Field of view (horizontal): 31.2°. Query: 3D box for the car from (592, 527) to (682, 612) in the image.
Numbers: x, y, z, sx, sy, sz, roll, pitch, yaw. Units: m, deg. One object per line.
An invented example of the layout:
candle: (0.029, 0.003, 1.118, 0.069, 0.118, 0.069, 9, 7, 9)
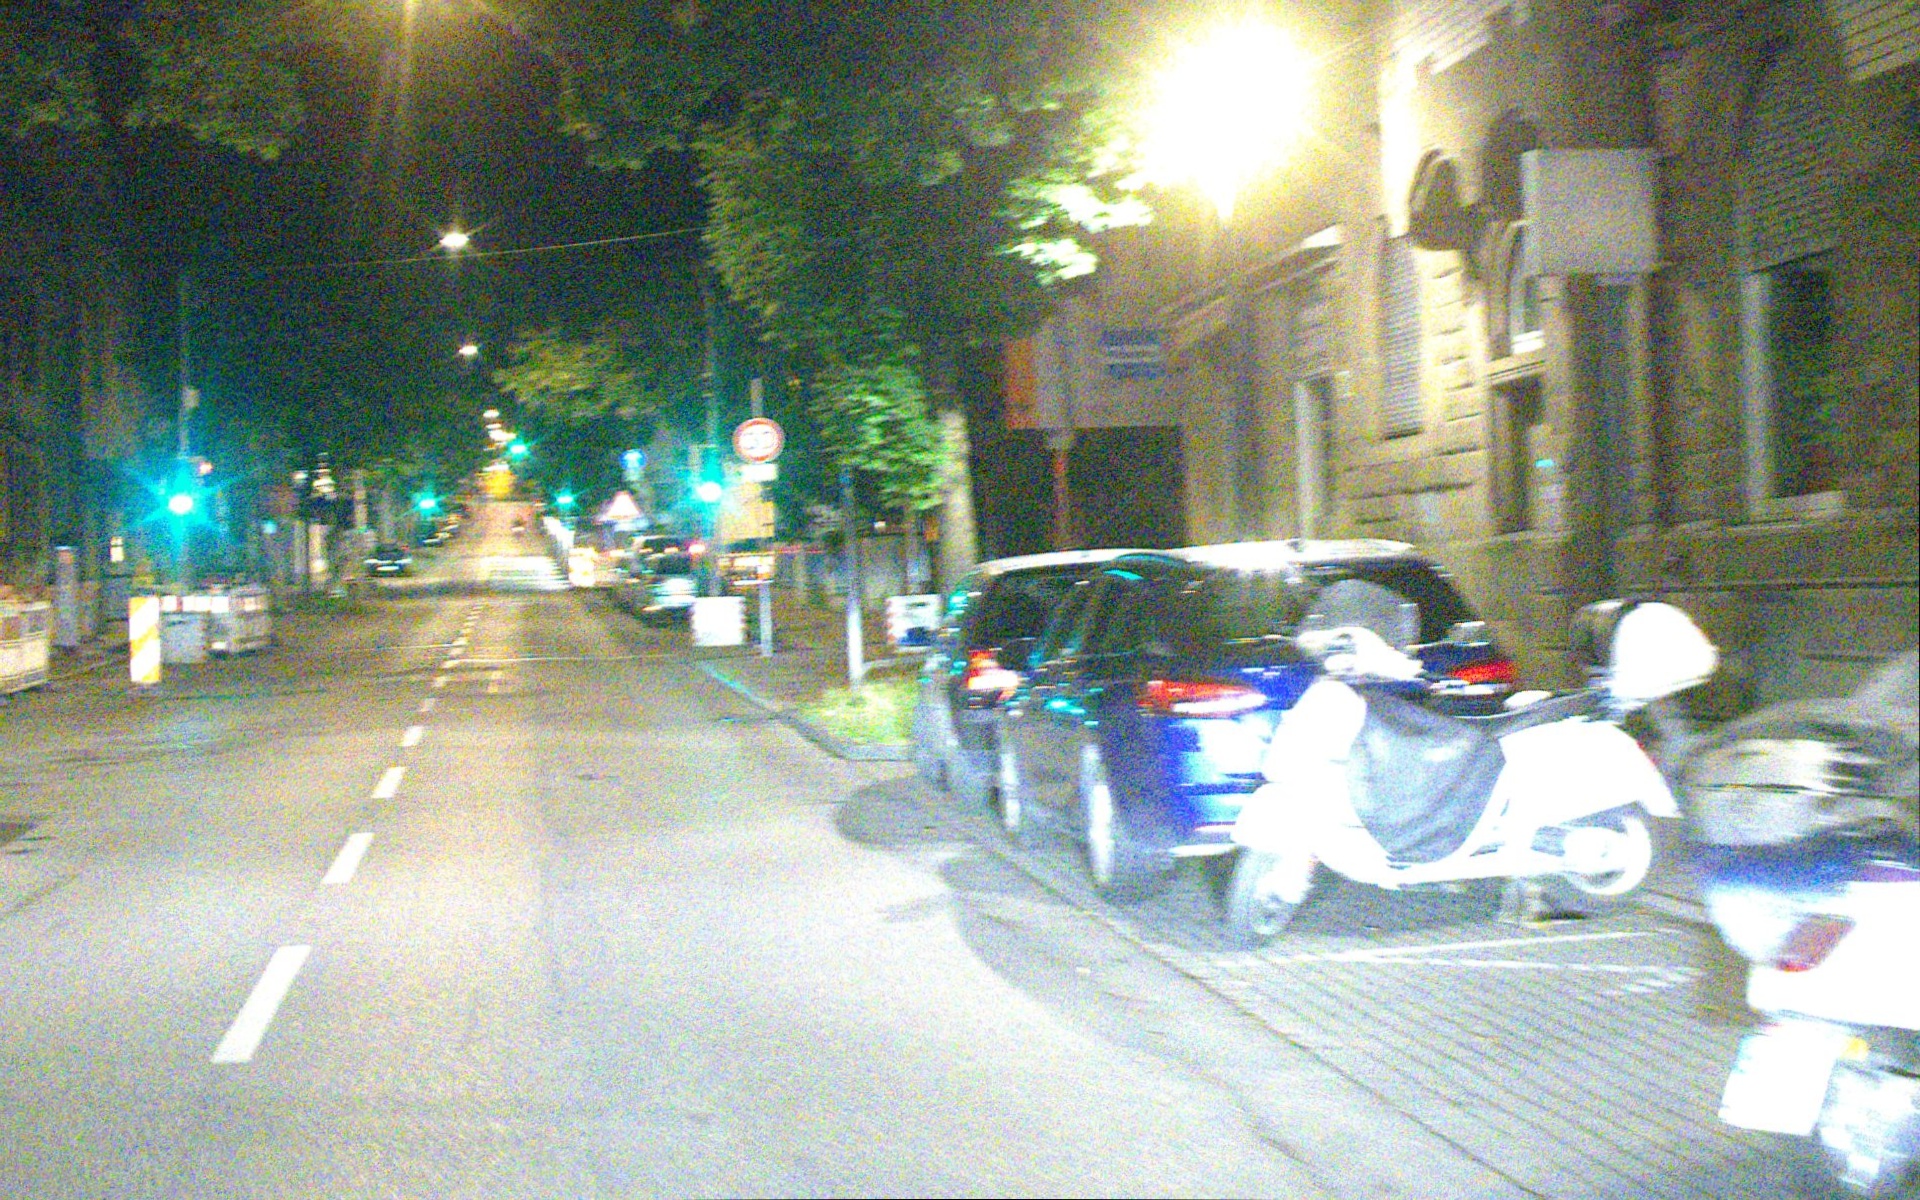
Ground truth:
car: (-7.486, -0.717, 79.319, 1.735, 1.848, 4.317, -2, 1, -9)

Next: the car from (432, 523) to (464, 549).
car: (-32.284, -4.036, 216.865, 1.873, 1.539, 4.206, -1, 2, -7)

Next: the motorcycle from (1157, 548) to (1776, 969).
motorcycle: (1.902, 0.557, 12.985, 2.052, 1.401, 0.925, -3, 1, -16)

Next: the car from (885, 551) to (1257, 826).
car: (0.569, 0.460, 20.830, 1.736, 1.449, 4.001, -2, 1, -5)

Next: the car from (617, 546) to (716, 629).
car: (-5.876, -0.276, 68.424, 1.739, 1.472, 4.001, -4, 1, -7)

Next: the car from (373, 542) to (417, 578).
car: (-23.851, -1.704, 145.192, 1.670, 1.438, 4.206, -1, 2, -7)

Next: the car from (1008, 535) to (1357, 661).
car: (2.750, -0.017, 43.042, 4.013, 1.417, 1.852, -2, -1, -9)

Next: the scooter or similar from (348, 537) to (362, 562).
scooter or similar: (-30.029, -2.519, 170.603, 0.528, 1.161, 2.508, -3, 0, -8)

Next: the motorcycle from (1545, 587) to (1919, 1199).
motorcycle: (2.240, 0.655, 7.715, 1.939, 1.348, 0.762, -2, 1, -42)

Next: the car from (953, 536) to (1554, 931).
car: (1.166, 0.505, 15.778, 1.732, 1.496, 4.468, -2, 1, -8)

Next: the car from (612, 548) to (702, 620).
car: (-6.494, -0.364, 73.344, 1.685, 1.416, 4.444, -2, 1, -7)
